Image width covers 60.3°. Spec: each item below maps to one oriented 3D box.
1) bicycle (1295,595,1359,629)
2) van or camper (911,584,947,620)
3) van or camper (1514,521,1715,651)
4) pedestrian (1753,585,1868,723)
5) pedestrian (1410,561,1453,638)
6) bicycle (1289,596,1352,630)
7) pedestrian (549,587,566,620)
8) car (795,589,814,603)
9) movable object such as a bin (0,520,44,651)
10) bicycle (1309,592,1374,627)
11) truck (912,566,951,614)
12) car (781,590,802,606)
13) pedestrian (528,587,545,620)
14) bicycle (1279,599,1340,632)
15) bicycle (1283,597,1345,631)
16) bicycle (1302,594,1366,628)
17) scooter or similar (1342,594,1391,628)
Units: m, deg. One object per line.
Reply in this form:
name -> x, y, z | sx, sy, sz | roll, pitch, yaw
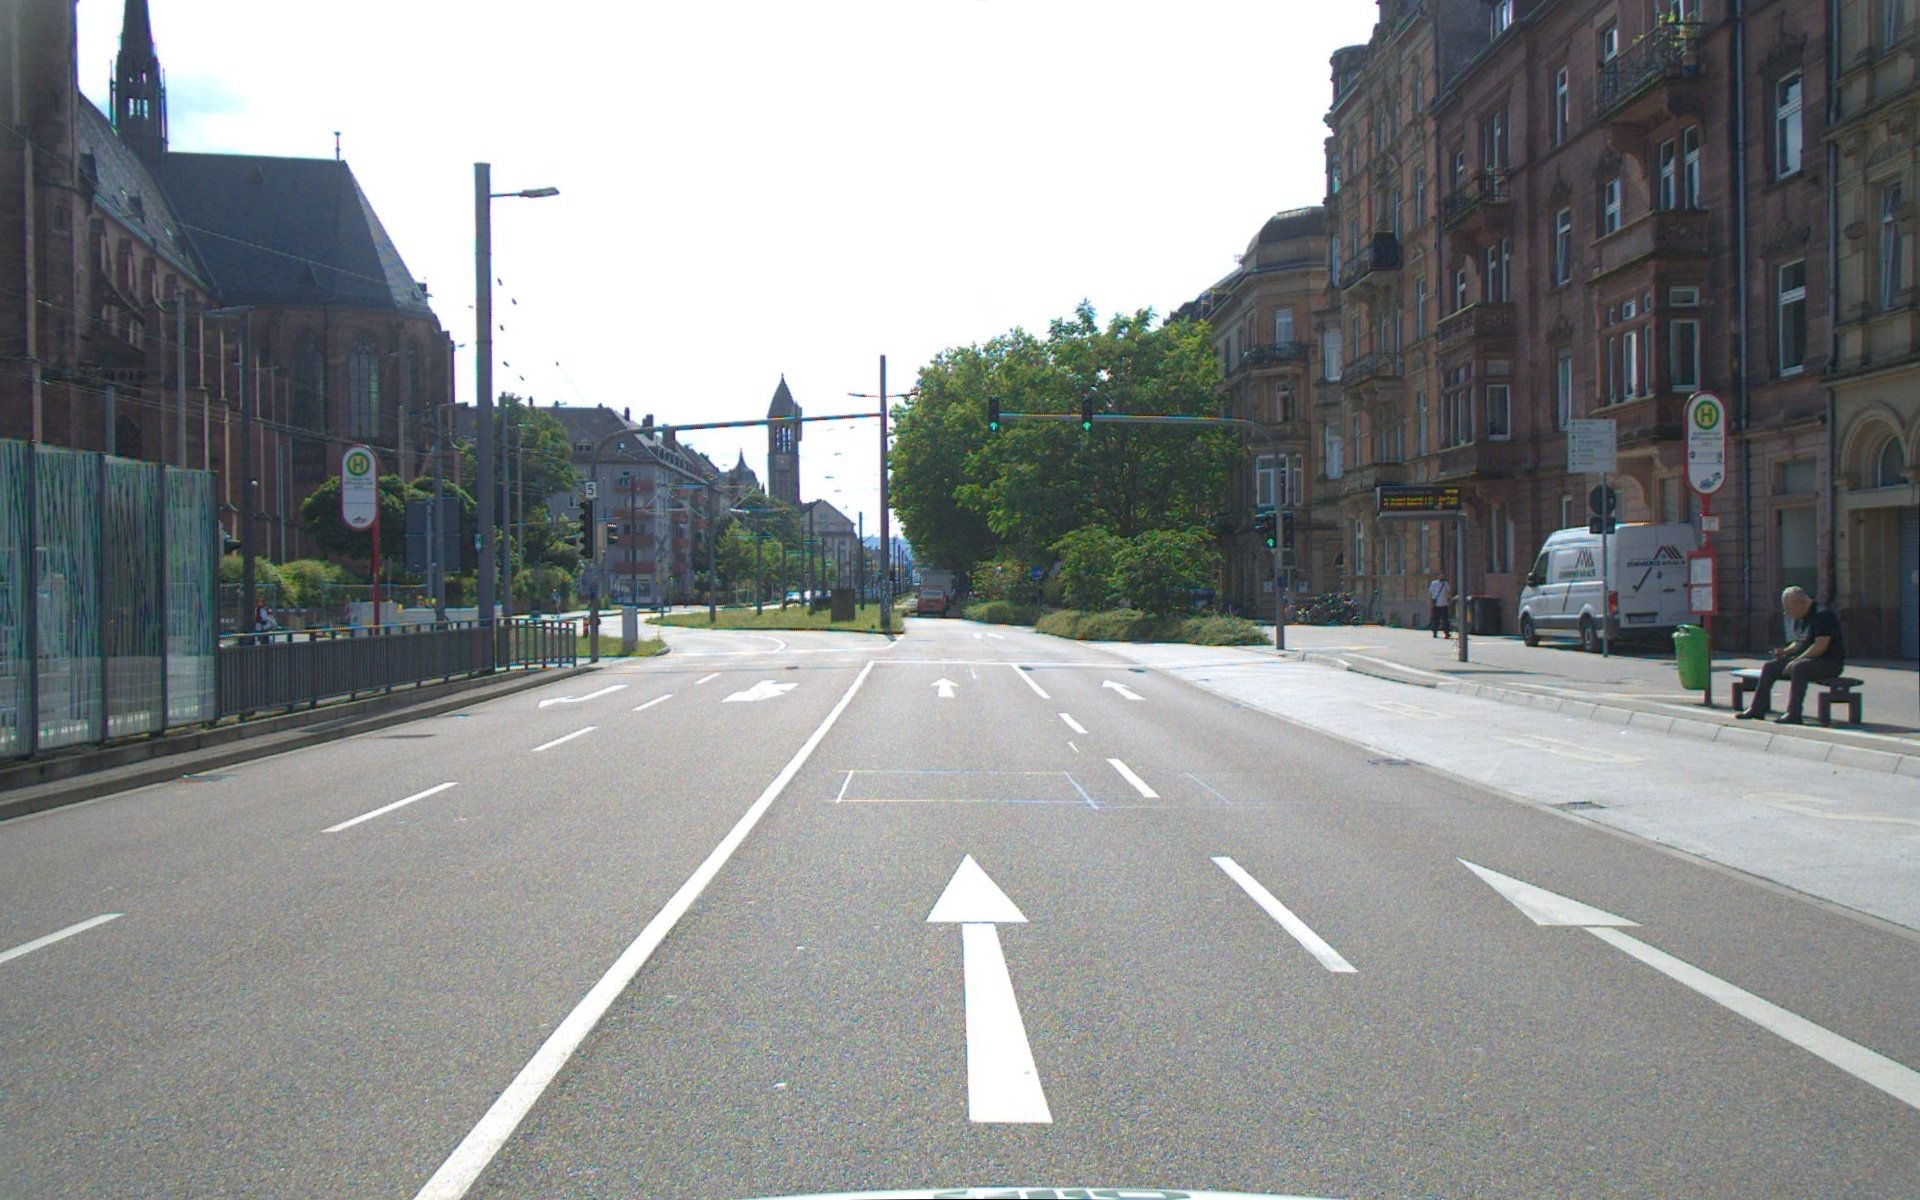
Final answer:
bicycle -> 13.372, 0.433, 60.256 | 2.147, 1.201, 0.683 | -1, 0, -6
van or camper -> -2.006, 0.151, 105.726 | 1.970, 1.948, 4.517 | 1, -4, -5
van or camper -> 13.674, -0.289, 34.967 | 1.953, 2.517, 5.564 | -1, 0, -1
pedestrian -> 8.534, 0.530, 16.600 | 0.737, 1.339, 0.810 | 1, -1, -40
pedestrian -> 12.750, -0.010, 44.746 | 0.868, 2.049, 0.996 | 1, -1, -1
bicycle -> 13.291, 0.478, 60.959 | 2.147, 1.201, 0.683 | -1, 0, -6
pedestrian -> -25.896, 0.252, 106.462 | 0.789, 2.049, 0.915 | 1, -4, -1
car -> -20.353, -0.487, 216.863 | 1.952, 1.825, 4.001 | -1, 0, 2
movable object such as a bin -> -29.292, -0.394, 47.301 | 2.609, 3.796, 5.597 | -1, 0, 6
bicycle -> 13.572, 0.343, 58.850 | 2.147, 1.201, 0.683 | -1, 0, -6
truck -> -2.314, -0.742, 135.812 | 3.105, 3.344, 7.294 | 0, -4, 0
car -> -20.518, -0.232, 201.833 | 1.952, 1.825, 4.001 | -1, 0, 2
pedestrian -> -27.276, 0.231, 106.565 | 0.789, 2.049, 0.915 | 1, -4, -1
bicycle -> 13.165, 0.570, 62.372 | 2.147, 1.201, 0.683 | -1, 0, -6
bicycle -> 13.199, 0.525, 61.693 | 2.147, 1.201, 0.683 | -1, 0, -6
bicycle -> 13.487, 0.392, 59.612 | 2.147, 1.201, 0.683 | -1, 0, -6
scooter or similar -> 13.805, 0.376, 56.161 | 1.533, 1.117, 0.451 | -1, 0, 2
